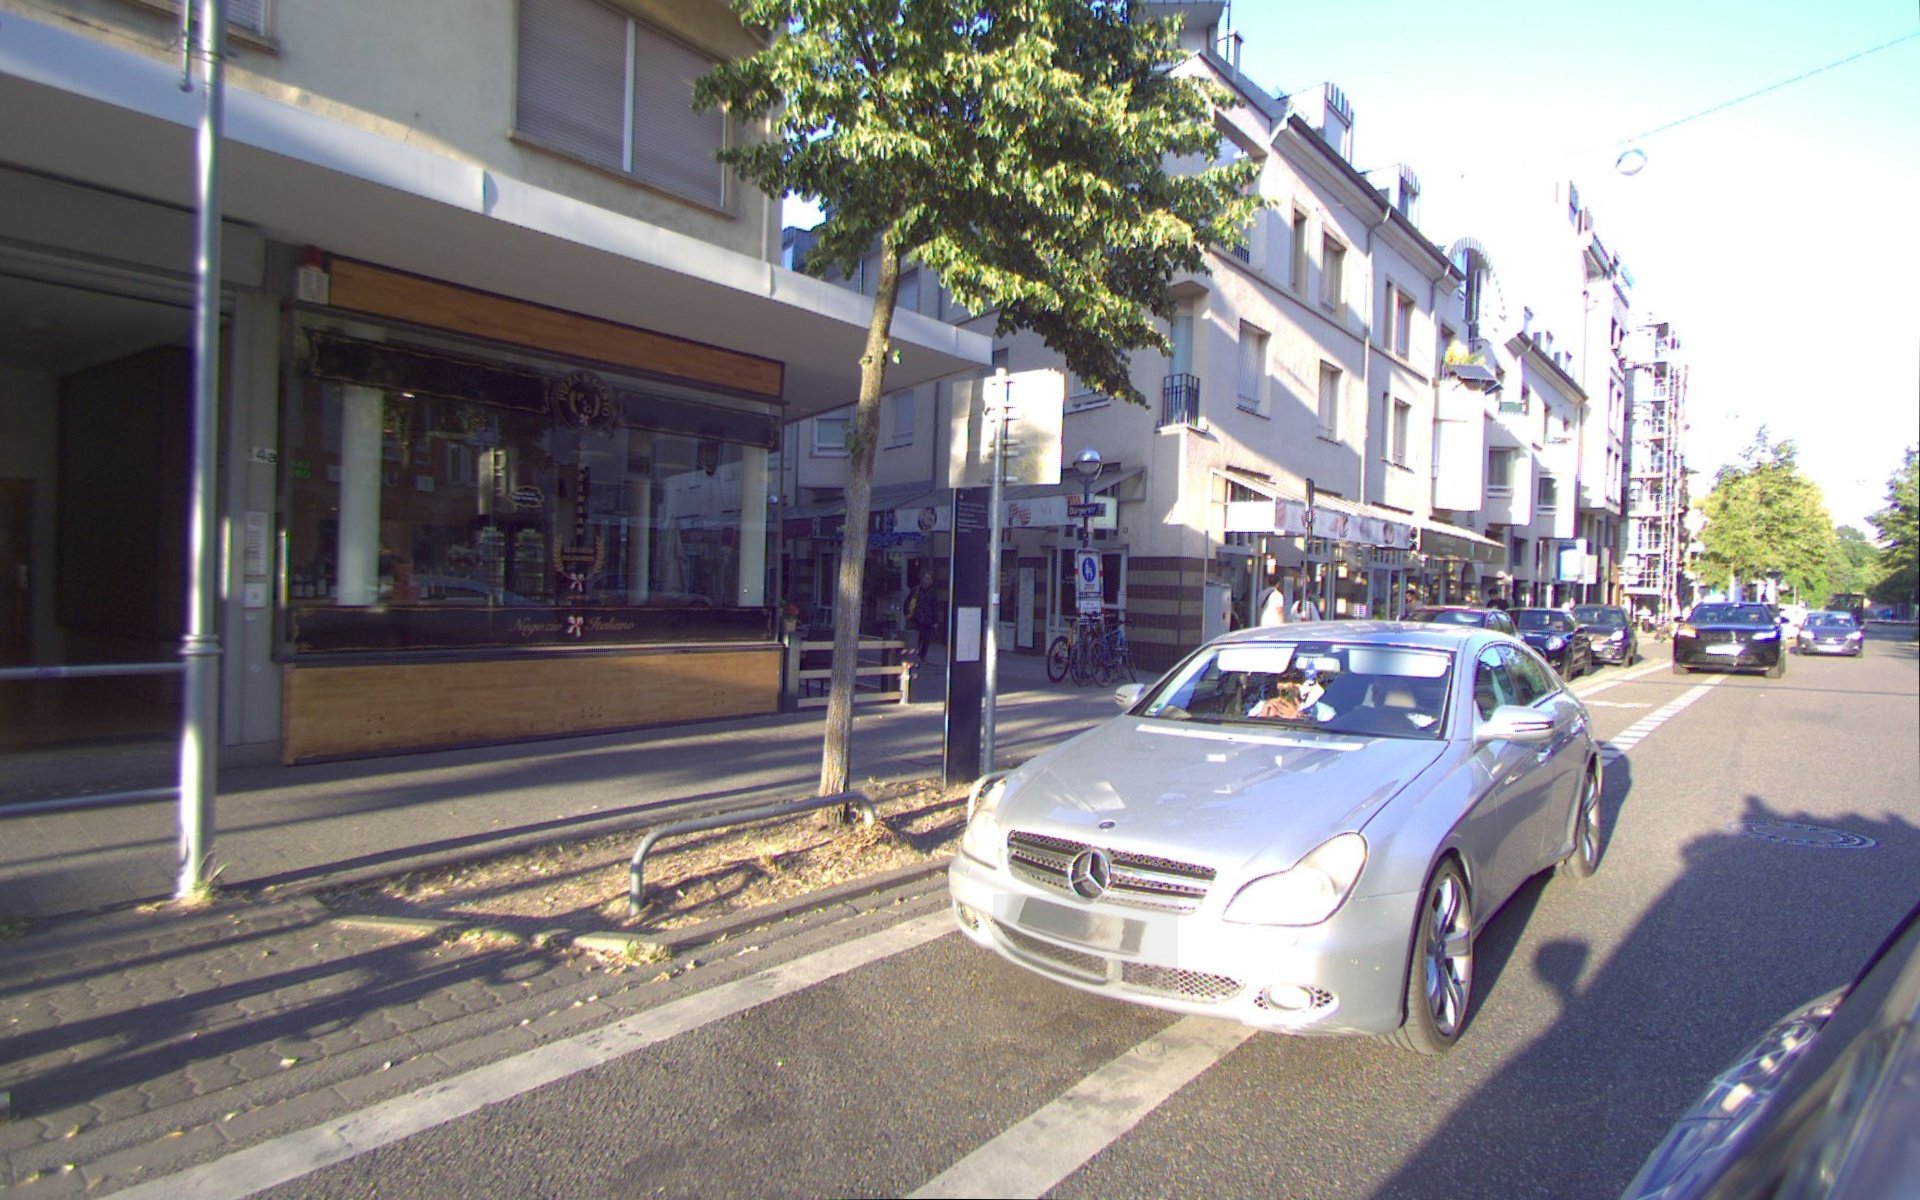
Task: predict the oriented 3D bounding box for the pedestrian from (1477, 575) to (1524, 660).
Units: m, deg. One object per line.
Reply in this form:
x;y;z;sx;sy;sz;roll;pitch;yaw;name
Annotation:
12.386;0.408;23.178;0.776;1.907;0.660;-2;-2;41;pedestrian

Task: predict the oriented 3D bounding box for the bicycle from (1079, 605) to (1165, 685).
2.457;0.644;15.189;0.320;1.118;1.851;2;1;41;bicycle

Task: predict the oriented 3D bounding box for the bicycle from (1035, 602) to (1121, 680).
1.861;0.610;15.718;0.320;1.118;1.851;2;1;41;bicycle

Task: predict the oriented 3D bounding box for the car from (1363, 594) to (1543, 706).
7.765;0.688;15.774;1.587;1.451;3.868;4;2;40;car

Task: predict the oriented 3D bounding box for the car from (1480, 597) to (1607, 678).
12.238;0.711;21.117;1.615;1.452;3.868;3;2;40;car

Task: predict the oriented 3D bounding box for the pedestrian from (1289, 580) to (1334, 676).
6.127;0.470;17.631;0.519;1.612;0.402;5;3;41;pedestrian

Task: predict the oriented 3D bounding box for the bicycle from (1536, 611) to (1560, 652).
16.243;0.858;27.935;0.295;1.099;1.441;1;1;41;bicycle

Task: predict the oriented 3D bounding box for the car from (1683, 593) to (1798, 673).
17.947;0.693;23.201;1.884;1.656;4.165;0;0;41;car

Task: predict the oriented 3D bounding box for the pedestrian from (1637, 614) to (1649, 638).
36.260;1.363;53.754;0.490;1.279;0.415;0;0;42;pedestrian

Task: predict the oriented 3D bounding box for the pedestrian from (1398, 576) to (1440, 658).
10.248;0.372;22.594;0.629;1.771;0.660;3;2;41;pedestrian

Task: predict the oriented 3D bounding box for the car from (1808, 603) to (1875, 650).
29.547;0.843;33.970;1.616;1.492;3.634;0;0;41;car

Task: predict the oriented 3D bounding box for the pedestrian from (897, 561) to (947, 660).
-0.691;0.176;18.186;0.688;1.696;0.799;2;2;-13;pedestrian

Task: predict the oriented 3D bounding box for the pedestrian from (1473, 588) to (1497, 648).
15.964;0.543;30.774;0.574;1.823;0.443;0;0;42;pedestrian

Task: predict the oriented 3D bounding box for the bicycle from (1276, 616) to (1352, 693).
5.324;0.785;15.166;0.314;1.059;1.853;3;2;43;bicycle

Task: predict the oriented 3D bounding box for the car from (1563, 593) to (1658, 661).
17.192;0.654;26.668;1.615;1.612;3.868;2;1;40;car

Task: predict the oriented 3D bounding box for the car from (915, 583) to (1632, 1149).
1.962;0.668;4.982;1.740;1.418;4.573;0;2;40;car

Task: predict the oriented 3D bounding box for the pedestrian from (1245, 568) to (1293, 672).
5.457;0.340;17.851;0.543;1.779;0.495;5;3;41;pedestrian

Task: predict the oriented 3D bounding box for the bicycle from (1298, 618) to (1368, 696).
5.491;0.808;14.858;0.314;1.059;1.638;3;2;43;bicycle

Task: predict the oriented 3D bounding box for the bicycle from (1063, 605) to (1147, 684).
2.229;0.641;15.397;0.290;1.118;1.859;2;1;41;bicycle
